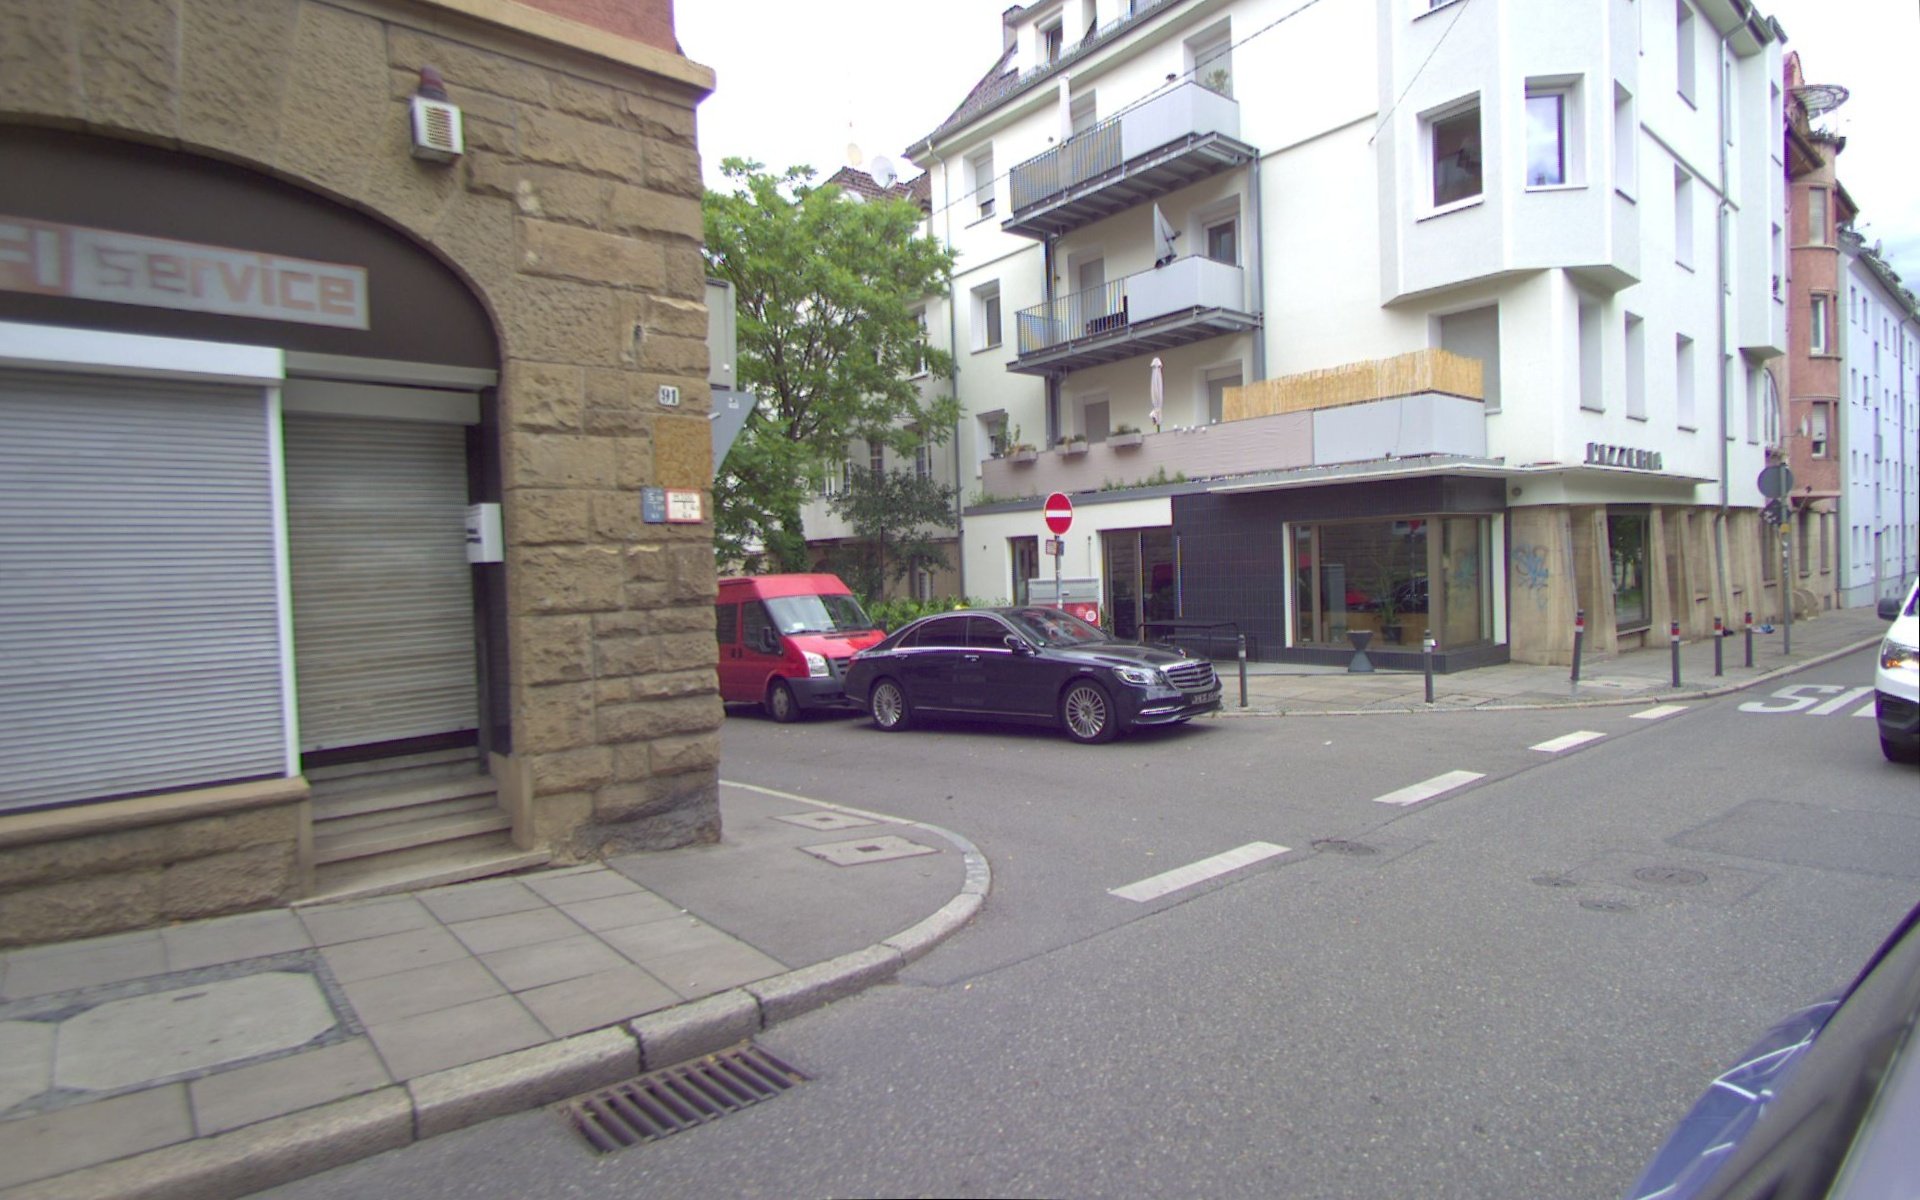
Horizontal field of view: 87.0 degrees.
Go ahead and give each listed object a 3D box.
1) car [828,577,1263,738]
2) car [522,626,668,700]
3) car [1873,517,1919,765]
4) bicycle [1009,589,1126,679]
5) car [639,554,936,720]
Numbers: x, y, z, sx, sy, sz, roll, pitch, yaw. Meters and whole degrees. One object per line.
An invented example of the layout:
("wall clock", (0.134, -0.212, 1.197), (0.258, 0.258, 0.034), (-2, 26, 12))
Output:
("car", (0.836, 0.696, 12.558), (2.203, 1.570, 5.126), (-2, -2, -45))
("car", (-8.613, 1.505, 23.673), (1.738, 1.474, 4.293), (-3, -2, -41))
("car", (9.523, 0.214, 8.461), (4.928, 1.848, 1.854), (-2, 1, -37))
("bicycle", (1.496, 0.463, 14.248), (1.495, 1.167, 0.625), (-1, 4, 41))
("car", (-3.084, 0.627, 16.839), (2.200, 2.268, 5.591), (-3, -1, -41))
